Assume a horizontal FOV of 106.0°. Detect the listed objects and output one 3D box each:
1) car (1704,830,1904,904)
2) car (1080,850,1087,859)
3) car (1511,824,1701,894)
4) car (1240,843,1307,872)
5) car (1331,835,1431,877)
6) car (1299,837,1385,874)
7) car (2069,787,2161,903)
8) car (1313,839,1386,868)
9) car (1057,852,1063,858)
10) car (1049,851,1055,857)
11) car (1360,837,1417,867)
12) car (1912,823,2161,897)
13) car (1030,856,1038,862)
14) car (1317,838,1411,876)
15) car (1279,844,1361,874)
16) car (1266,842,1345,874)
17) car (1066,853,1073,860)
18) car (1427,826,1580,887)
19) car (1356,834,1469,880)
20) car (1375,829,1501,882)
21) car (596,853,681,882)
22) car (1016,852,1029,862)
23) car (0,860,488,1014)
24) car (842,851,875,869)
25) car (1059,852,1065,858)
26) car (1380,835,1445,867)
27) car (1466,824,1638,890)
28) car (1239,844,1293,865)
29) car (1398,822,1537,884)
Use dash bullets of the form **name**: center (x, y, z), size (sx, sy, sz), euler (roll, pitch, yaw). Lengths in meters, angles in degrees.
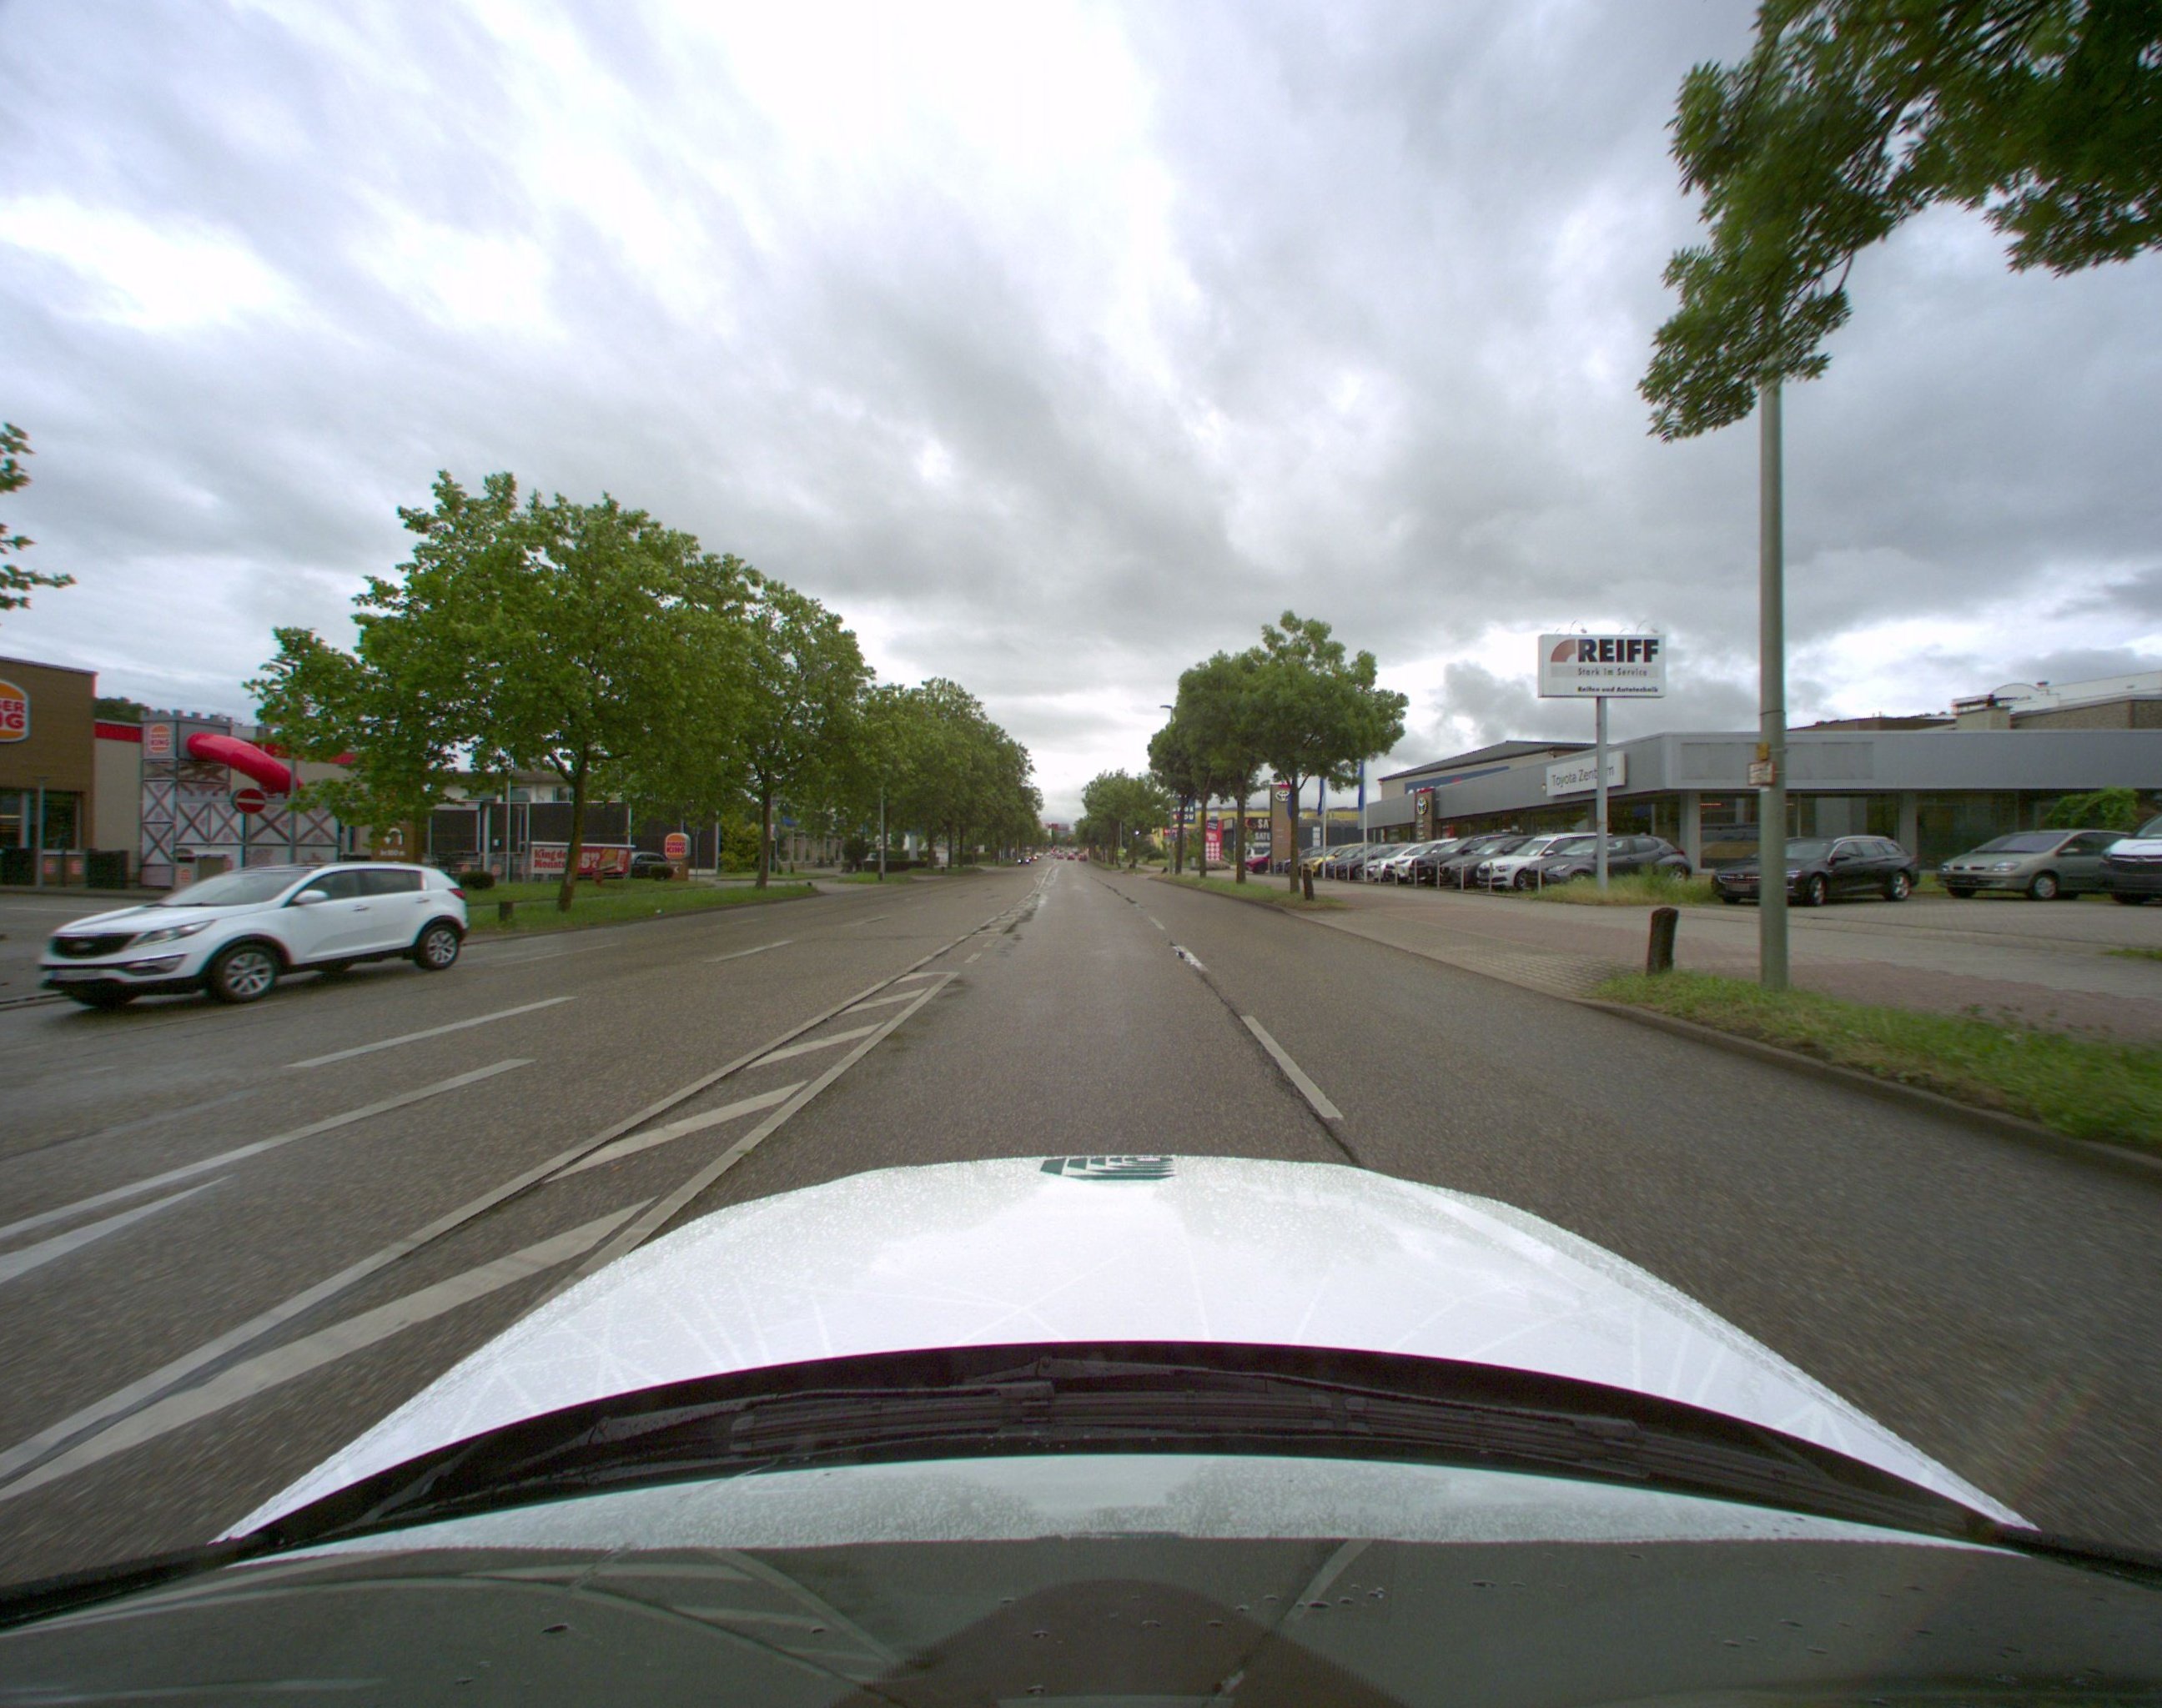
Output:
- **car**: center (16.112, 0.260, 18.178), size (3.691, 1.464, 1.782), euler (-2, 0, -20)
- **car**: center (0.576, 0.155, 187.120), size (1.739, 2.013, 4.000), euler (-1, 0, 1)
- **car**: center (13.913, 0.130, 21.736), size (3.822, 1.461, 1.827), euler (-5, 0, -1)
- **car**: center (12.479, 0.213, 52.887), size (3.829, 1.603, 1.795), euler (-3, 0, -1)
- **car**: center (13.782, 0.101, 37.593), size (3.972, 1.786, 1.813), euler (-1, 0, 1)
- **car**: center (13.545, 0.085, 42.311), size (3.830, 1.566, 1.665), euler (-4, 0, -3)
- **car**: center (22.458, -0.210, 15.638), size (4.639, 2.149, 1.964), euler (-1, 0, -1)
- **car**: center (17.330, -0.034, 52.698), size (4.091, 1.621, 1.882), euler (-2, 0, 3)
- **car**: center (-6.312, 0.230, 245.945), size (1.739, 1.701, 4.000), euler (-1, 0, 1)
- **car**: center (-9.212, 0.027, 258.967), size (1.988, 2.013, 3.998), euler (-1, 0, -1)
- **car**: center (18.352, -0.116, 48.842), size (1.868, 1.621, 4.123), euler (-2, 0, 1)
- **car**: center (22.051, 0.114, 18.304), size (4.635, 1.498, 2.001), euler (-1, 0, 1)
- **car**: center (-11.607, 1.274, 199.639), size (1.721, 1.517, 3.819), euler (-1, 0, -1)
- **car**: center (13.804, 0.127, 39.902), size (3.972, 1.547, 1.711), euler (-4, 0, 1)
- **car**: center (13.055, 0.252, 44.635), size (3.975, 1.538, 1.799), euler (-1, 0, -1)
- **car**: center (12.784, 0.214, 46.602), size (3.975, 1.647, 1.844), euler (-3, 0, -1)
- **car**: center (-3.066, 0.661, 223.186), size (1.739, 2.013, 4.000), euler (-1, 0, 1)
- **car**: center (13.718, 0.083, 26.626), size (3.972, 1.584, 1.813), euler (-5, 0, 1)
- **car**: center (13.839, 0.122, 34.166), size (3.972, 1.786, 1.813), euler (-1, 0, 1)
- **car**: center (13.783, 0.052, 31.573), size (3.977, 1.587, 1.811), euler (-6, 1, -2)
- **car**: center (-19.915, 0.585, 36.691), size (3.158, 1.155, 1.293), euler (2, 0, 7)
- **car**: center (-9.459, 0.477, 132.232), size (1.798, 1.463, 3.845), euler (-2, 0, 0)
- **car**: center (-10.611, 0.907, 10.926), size (1.920, 1.619, 4.402), euler (-1, -1, 3)
- **car**: center (-19.570, 0.499, 71.770), size (1.818, 1.486, 3.937), euler (-1, 0, -2)
- **car**: center (-6.072, 0.169, 260.621), size (1.885, 1.876, 4.122), euler (-1, 0, -1)
- **car**: center (17.983, -0.150, 44.390), size (1.868, 1.621, 4.123), euler (-2, 0, 1)
- **car**: center (13.924, 0.075, 24.230), size (3.972, 1.543, 1.813), euler (-5, 0, 1)
- **car**: center (18.461, 0.041, 81.430), size (4.822, 2.014, 1.983), euler (-1, -1, -11)
- **car**: center (13.642, -0.038, 28.913), size (3.972, 1.786, 1.813), euler (-5, 0, 1)
